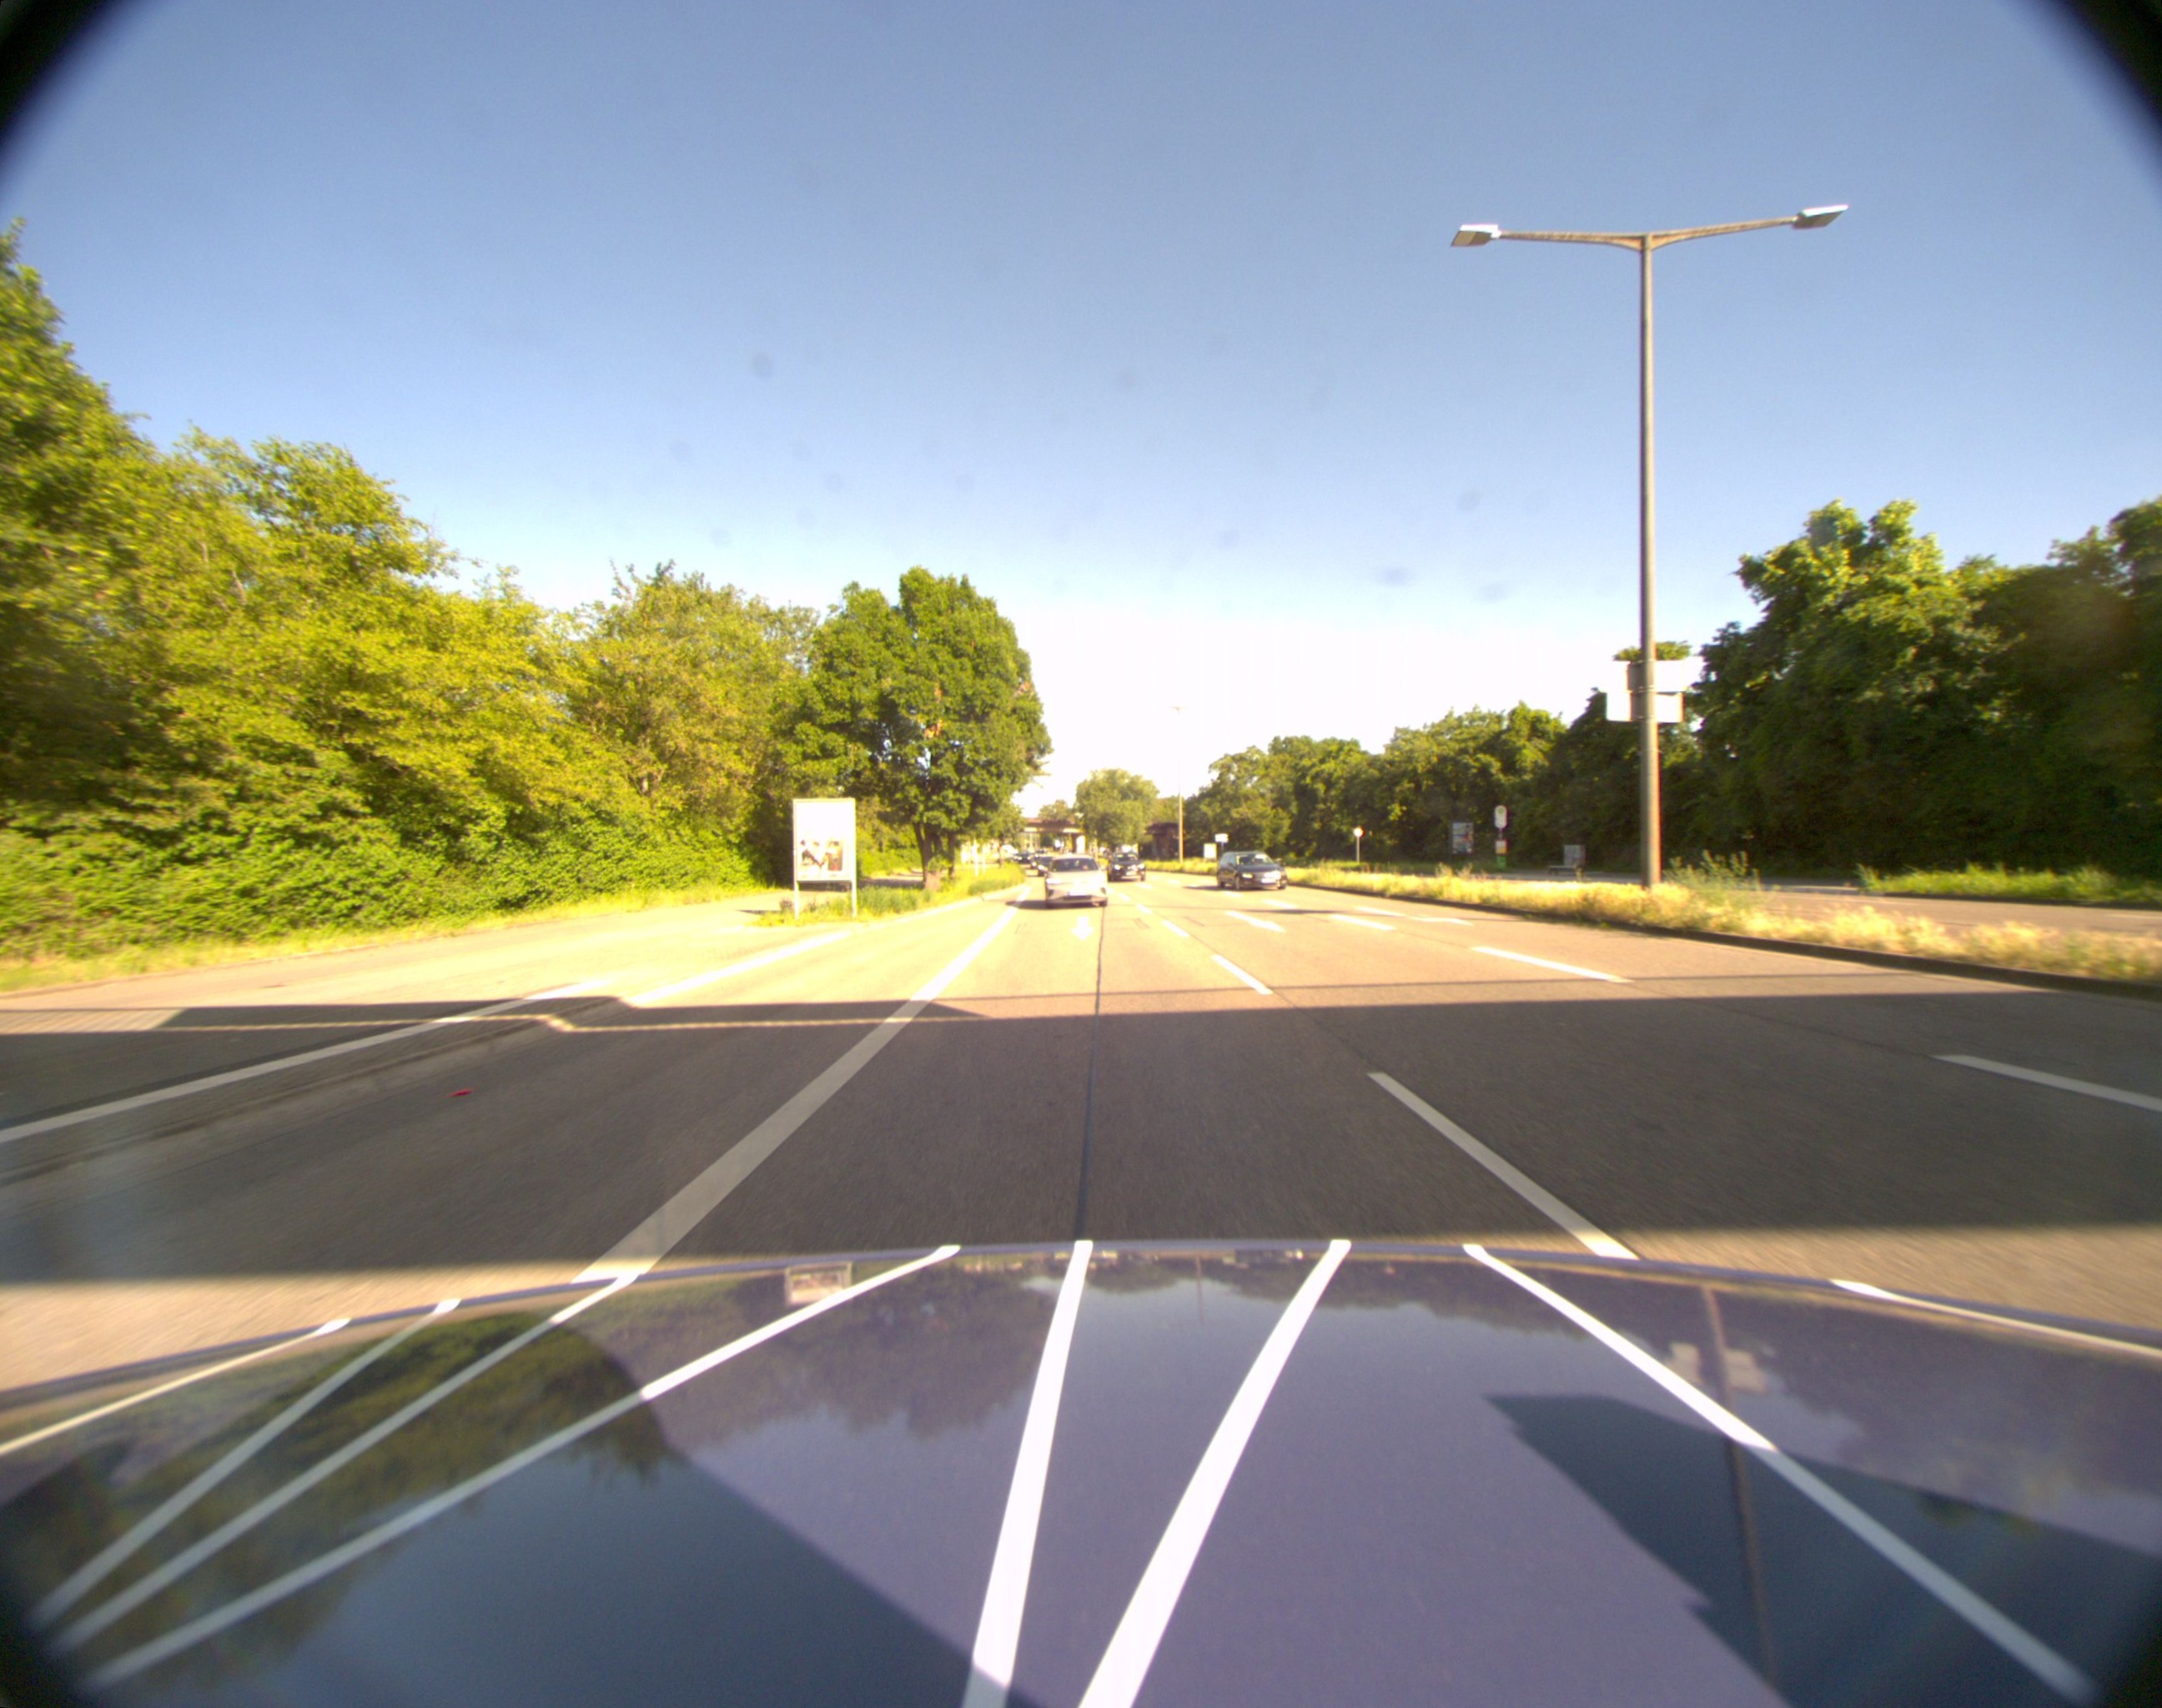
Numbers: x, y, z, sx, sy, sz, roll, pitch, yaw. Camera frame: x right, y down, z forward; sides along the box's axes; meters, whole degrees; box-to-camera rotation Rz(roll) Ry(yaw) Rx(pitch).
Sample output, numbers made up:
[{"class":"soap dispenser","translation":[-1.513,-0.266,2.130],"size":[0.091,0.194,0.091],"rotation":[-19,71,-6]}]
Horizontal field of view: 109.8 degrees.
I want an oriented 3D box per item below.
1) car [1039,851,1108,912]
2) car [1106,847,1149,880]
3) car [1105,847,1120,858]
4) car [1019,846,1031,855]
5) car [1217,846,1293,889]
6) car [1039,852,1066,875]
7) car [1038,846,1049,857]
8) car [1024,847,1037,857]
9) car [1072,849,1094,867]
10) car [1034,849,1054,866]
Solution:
[{"class":"car","translation":[-0.154,0.800,24.041],"size":[1.801,1.664,4.240],"rotation":[-3,0,3]},{"class":"car","translation":[2.529,0.500,42.190],"size":[1.714,1.653,3.854],"rotation":[-2,0,-6]},{"class":"car","translation":[4.711,-0.212,114.805],"size":[1.874,1.611,3.835],"rotation":[-2,0,-3]},{"class":"car","translation":[-9.762,-0.605,132.807],"size":[1.874,1.611,3.835],"rotation":[-2,0,-3]},{"class":"car","translation":[6.675,0.504,29.603],"size":[1.796,1.487,4.000],"rotation":[-2,0,-4]},{"class":"car","translation":[-2.128,0.691,57.394],"size":[1.873,1.611,3.836],"rotation":[-1,0,-1]},{"class":"car","translation":[-7.017,-0.517,141.402],"size":[1.999,2.002,3.998],"rotation":[-2,0,-3]},{"class":"car","translation":[-7.761,-0.306,117.297],"size":[1.874,1.611,3.835],"rotation":[-2,0,-4]},{"class":"car","translation":[0.192,0.367,72.172],"size":[1.714,1.653,3.854],"rotation":[-2,0,-4]},{"class":"car","translation":[-3.811,0.348,79.177],"size":[1.873,1.611,3.836],"rotation":[-1,0,-1]}]
